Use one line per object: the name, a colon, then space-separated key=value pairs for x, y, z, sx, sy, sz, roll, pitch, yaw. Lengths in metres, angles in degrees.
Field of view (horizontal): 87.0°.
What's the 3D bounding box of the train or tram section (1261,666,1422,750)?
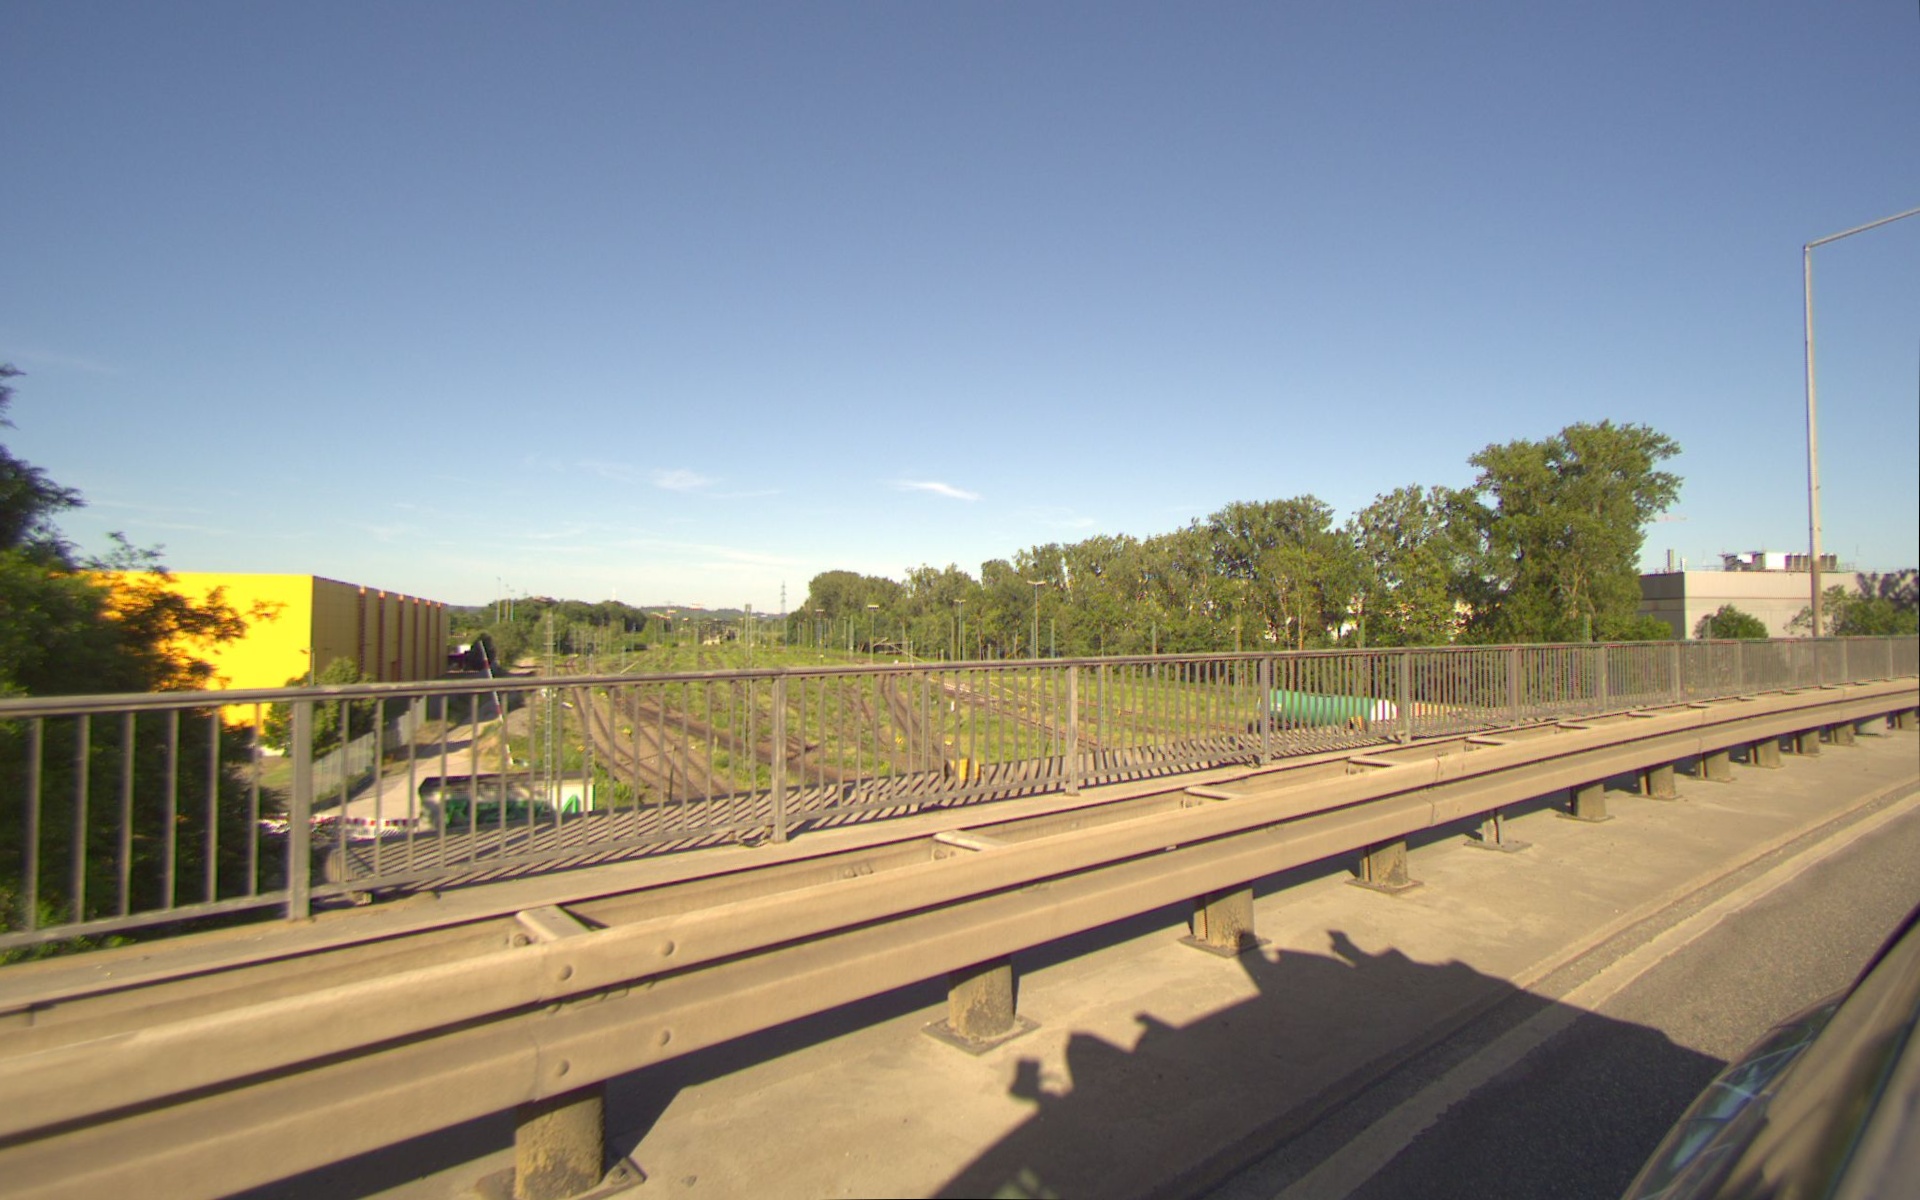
train or tram section: x=31.667 y=8.824 z=85.435 sx=3.267 sy=5.248 sz=15.211 roll=1 pitch=1 yaw=-22
